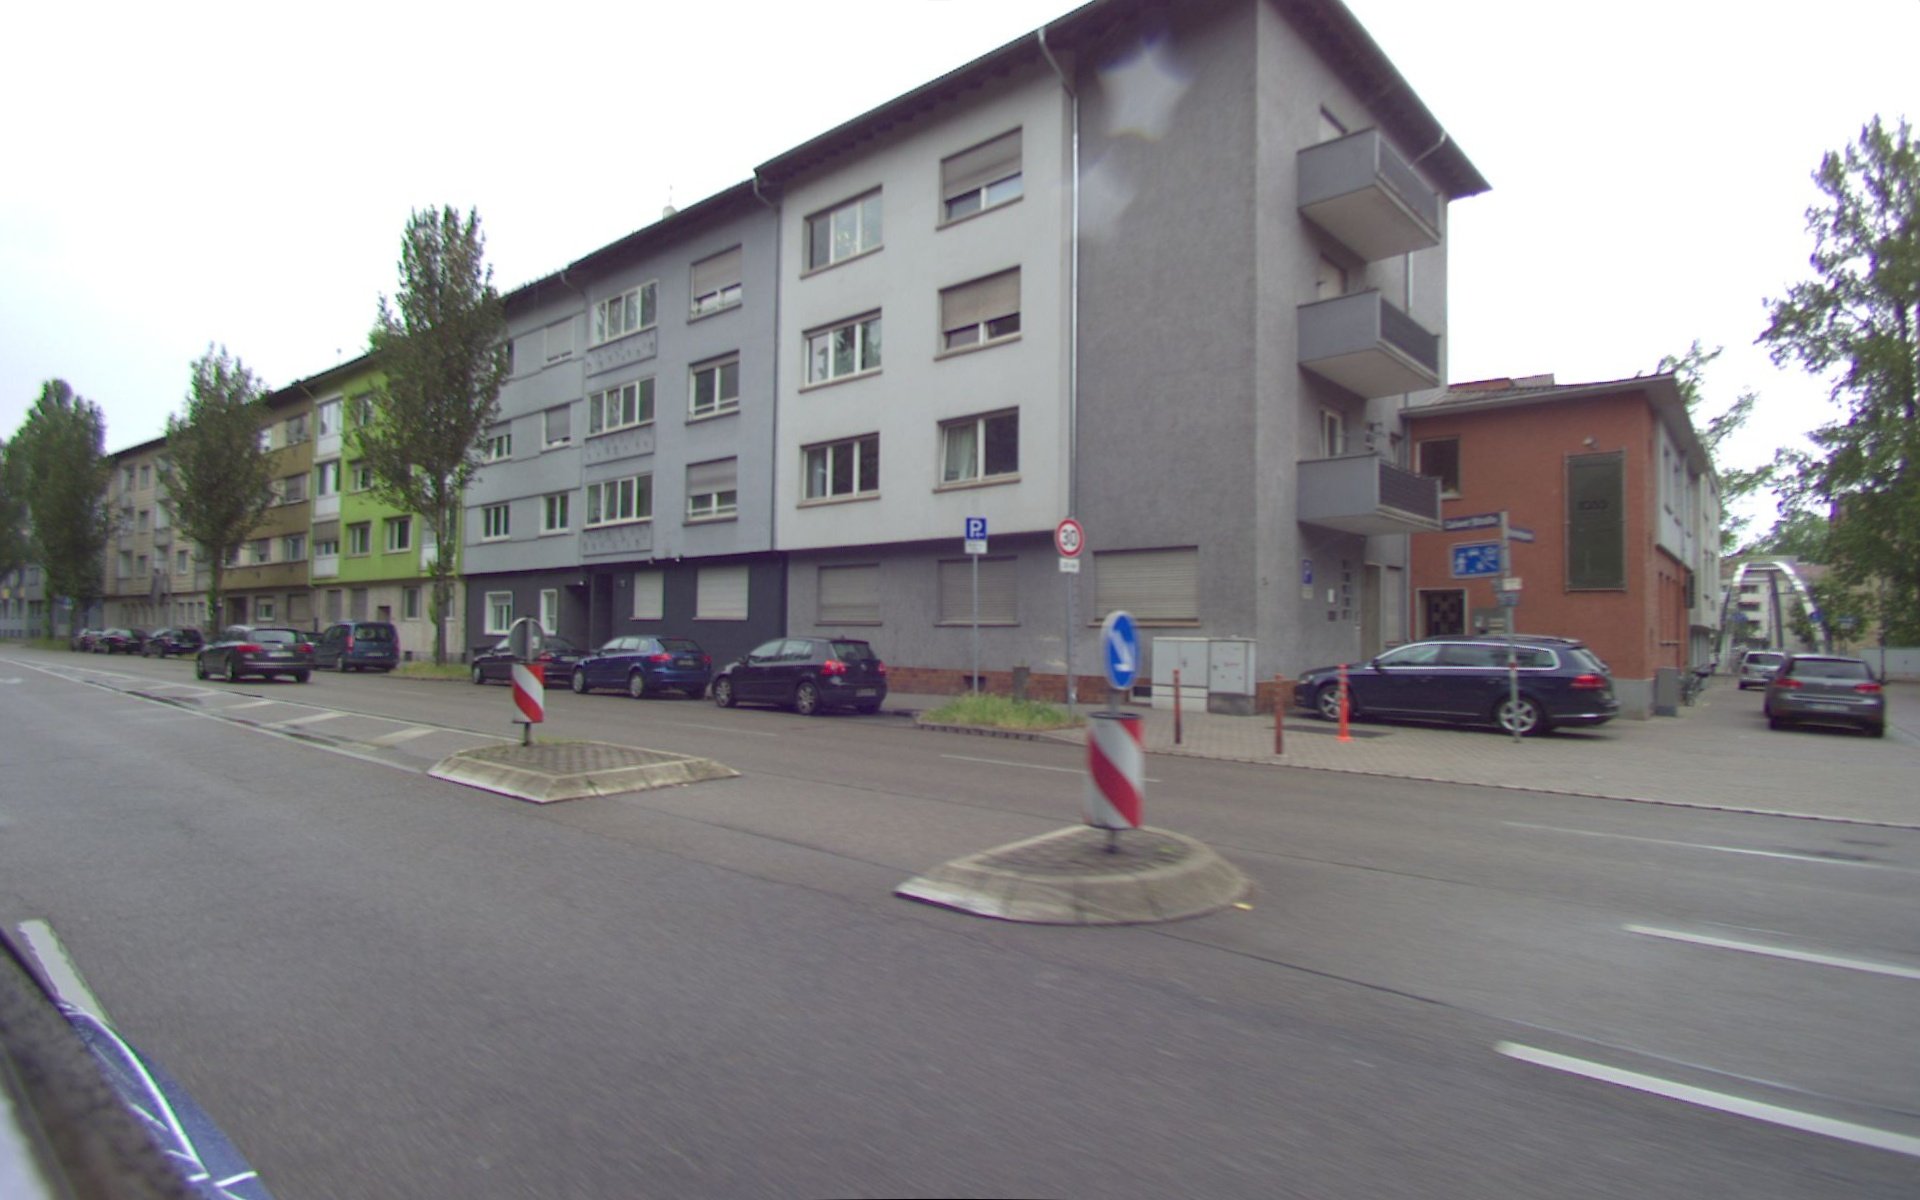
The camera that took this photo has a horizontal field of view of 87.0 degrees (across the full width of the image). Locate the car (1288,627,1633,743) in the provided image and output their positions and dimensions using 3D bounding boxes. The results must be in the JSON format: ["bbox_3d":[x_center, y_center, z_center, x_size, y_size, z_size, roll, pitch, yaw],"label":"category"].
[{"bbox_3d":[7.829,1.233,16.121,4.632,1.497,1.832,0,0,41],"label":"car"}]

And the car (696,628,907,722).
[{"bbox_3d":[-3.195,1.380,19.912,4.246,1.556,1.828,-1,0,41],"label":"car"}]

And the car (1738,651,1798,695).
[{"bbox_3d":[33.569,3.013,42.081,1.850,1.674,3.801,-1,-3,39],"label":"car"}]

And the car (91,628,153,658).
[{"bbox_3d":[-46.268,2.368,55.869,4.169,1.579,1.844,-1,-4,39],"label":"car"}]

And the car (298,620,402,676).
[{"bbox_3d":[-21.855,1.653,36.218,4.312,1.884,1.880,-1,-2,40],"label":"car"}]

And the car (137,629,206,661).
[{"bbox_3d":[-39.243,2.239,50.335,3.996,1.524,1.844,-1,-3,39],"label":"car"}]

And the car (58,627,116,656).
[{"bbox_3d":[-51.389,2.434,59.540,4.169,1.612,1.844,-1,-4,39],"label":"car"}]

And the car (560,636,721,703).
[{"bbox_3d":[-7.499,1.593,23.603,3.924,1.394,1.704,-1,-5,40],"label":"car"}]

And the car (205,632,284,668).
[{"bbox_3d":[-30.248,2.103,42.752,4.248,1.356,1.528,-1,-5,38],"label":"car"}]

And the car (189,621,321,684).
[{"bbox_3d":[-18.608,1.390,26.655,4.287,1.527,1.792,-2,-5,41],"label":"car"}]

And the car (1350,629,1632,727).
[{"bbox_3d":[9.431,1.319,18.189,4.227,1.537,1.712,-1,-4,41],"label":"car"}]

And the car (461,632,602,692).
[{"bbox_3d":[-11.668,1.662,27.450,4.312,1.492,1.704,-1,-5,40],"label":"car"}]

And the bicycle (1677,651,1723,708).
[{"bbox_3d":[19.931,2.126,27.244,0.861,1.441,2.723,-1,-4,39],"label":"bicycle"}]

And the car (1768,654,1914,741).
[{"bbox_3d":[17.045,1.833,19.763,1.903,1.423,3.949,1,-3,38],"label":"car"}]
